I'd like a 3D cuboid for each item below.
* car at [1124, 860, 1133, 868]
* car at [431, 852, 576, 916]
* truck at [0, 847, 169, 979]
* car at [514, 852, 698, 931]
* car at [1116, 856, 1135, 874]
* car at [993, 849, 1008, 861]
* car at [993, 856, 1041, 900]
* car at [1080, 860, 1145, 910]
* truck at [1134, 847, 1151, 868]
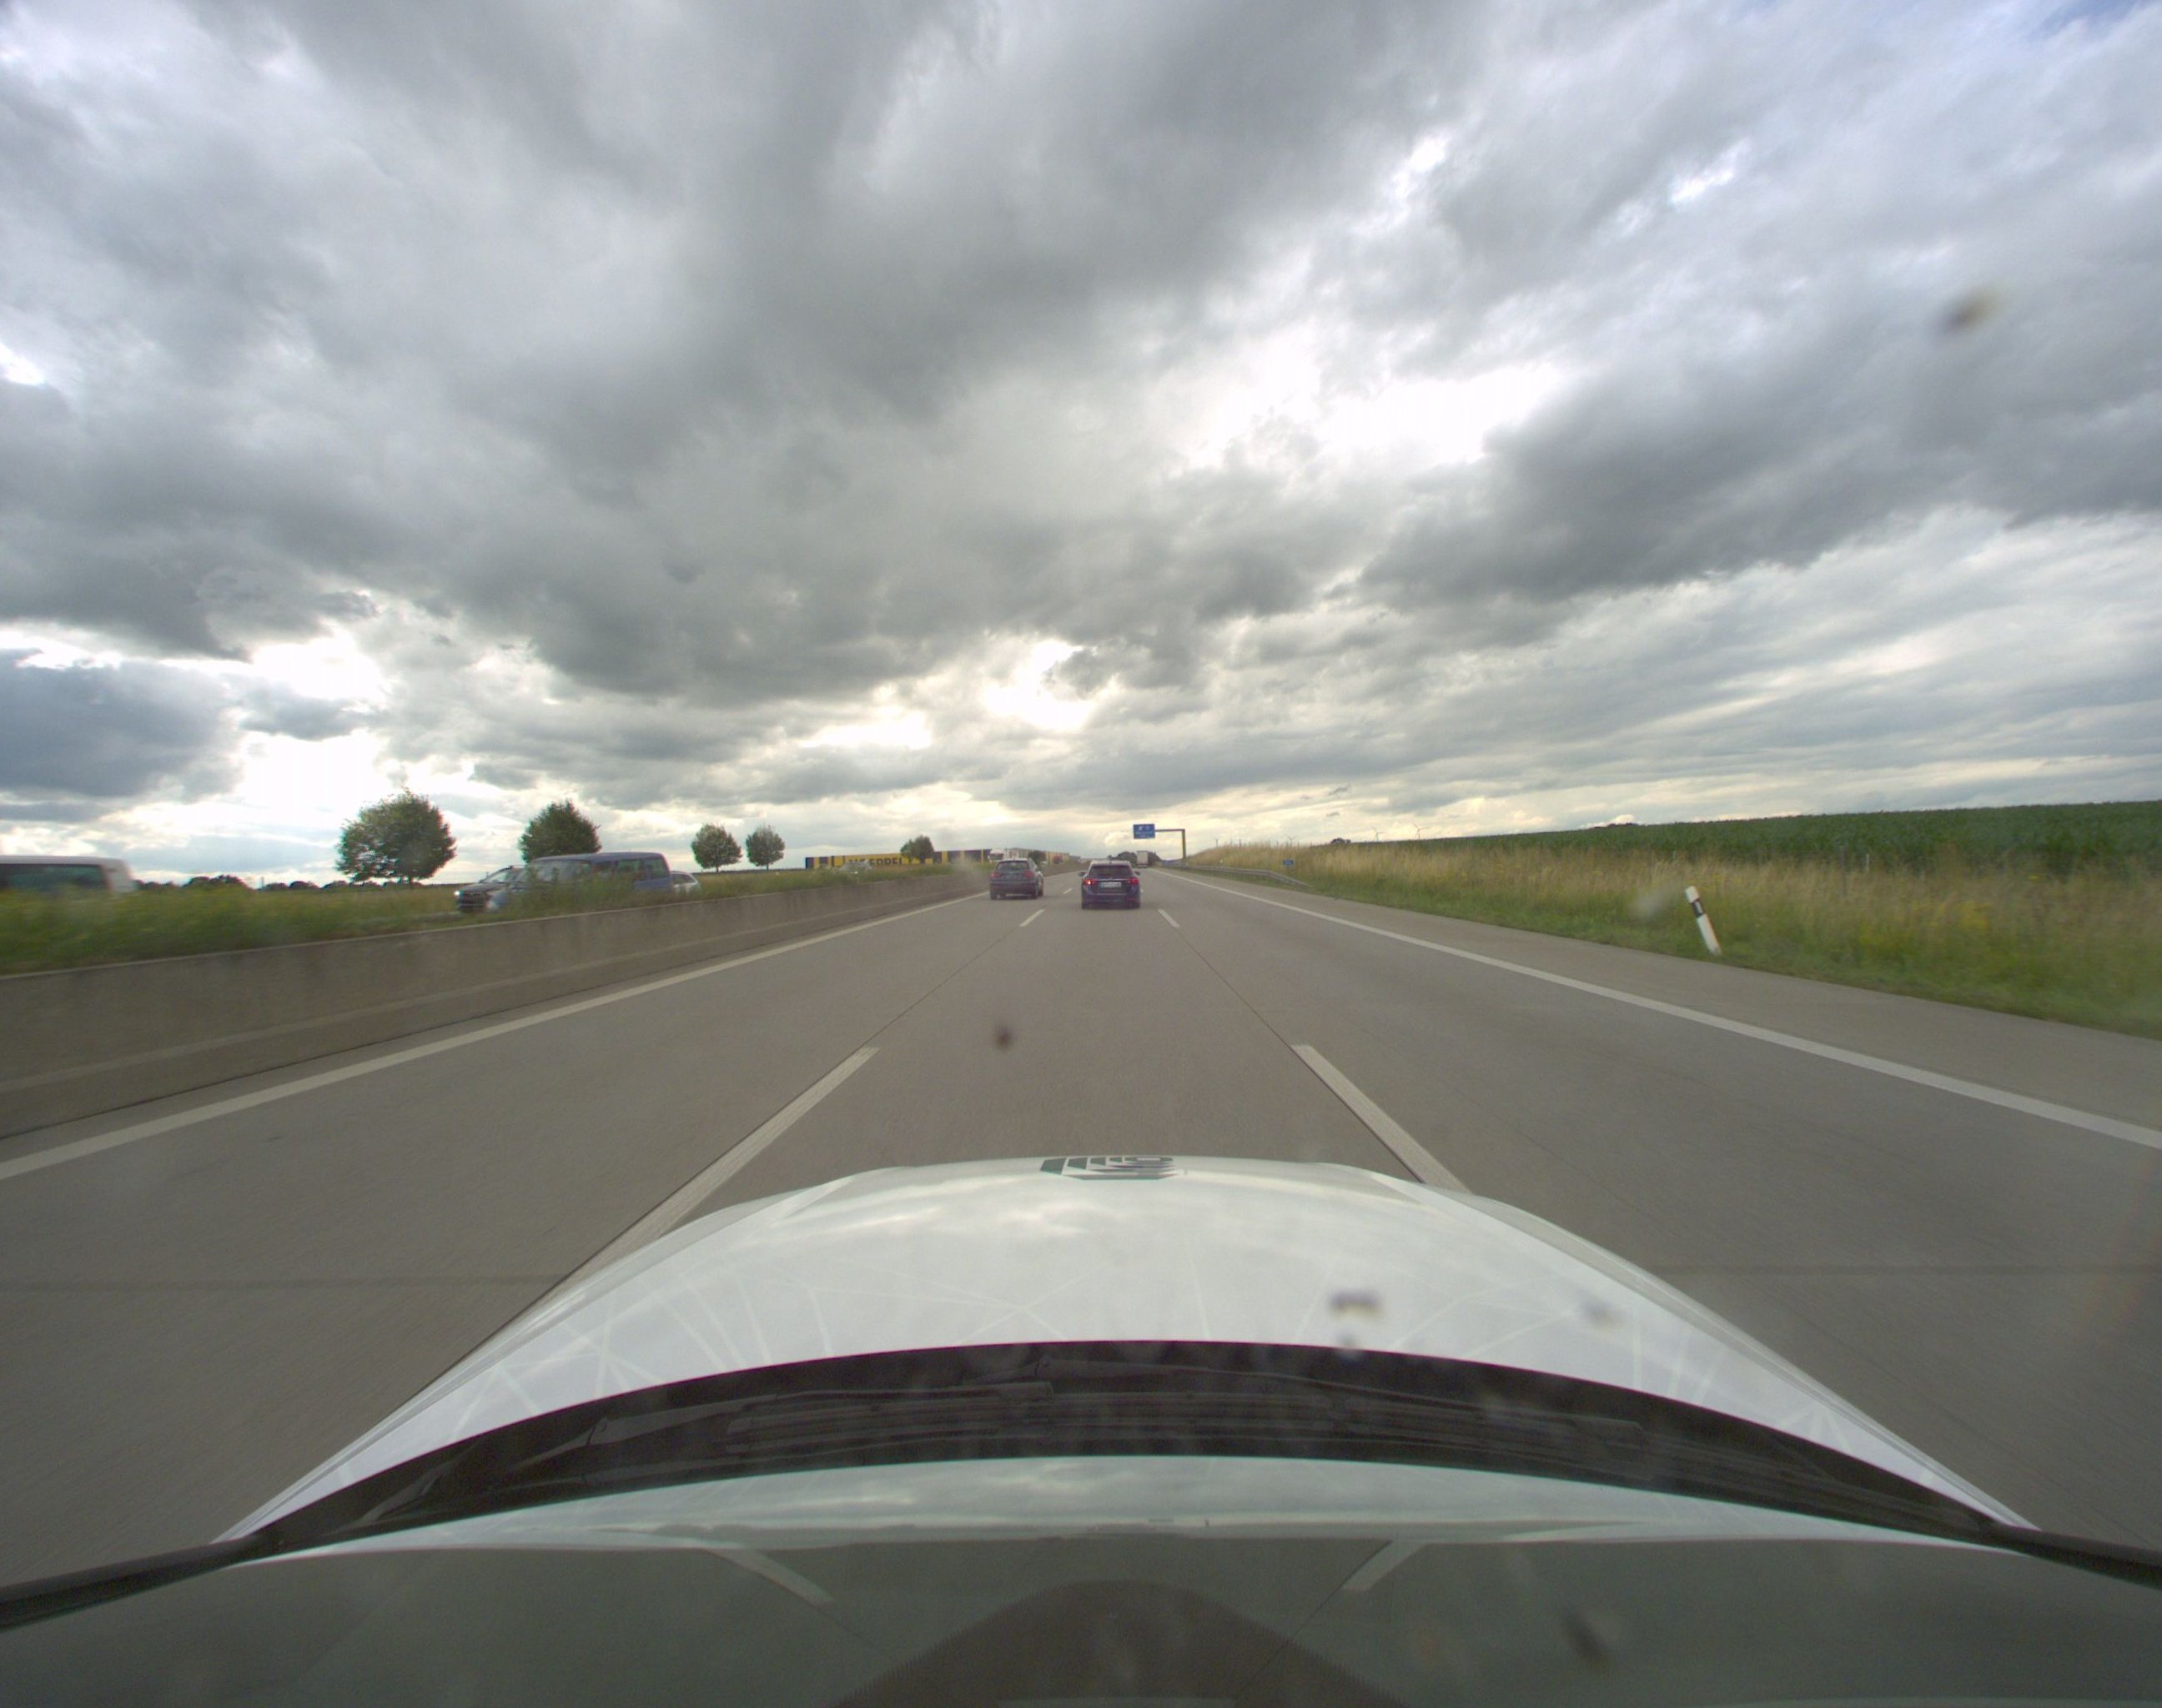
[{"bbox_3d":[12.479,2.578,214.878,1.988,2.014,3.997,0,-1,-2],"label":"car"},{"bbox_3d":[-19.568,0.988,27.850,1.986,2.014,4.001,0,-1,2],"label":"car"},{"bbox_3d":[-15.782,0.807,10.585,1.939,1.806,5.128,0,-1,2],"label":"truck"},{"bbox_3d":[-11.392,0.857,19.942,1.986,1.728,4.110,0,-1,2],"label":"car"},{"bbox_3d":[5.294,1.327,97.130,1.987,2.014,3.998,0,-1,-1],"label":"car"},{"bbox_3d":[-13.515,0.208,137.252,1.986,2.014,4.001,0,-1,2],"label":"car"},{"bbox_3d":[-2.517,0.904,32.856,1.789,1.596,5.150,0,0,-3],"label":"car"},{"bbox_3d":[0.901,0.904,25.516,1.770,1.413,3.997,-1,-1,-2],"label":"car"},{"bbox_3d":[14.659,0.857,192.775,3.932,4.756,12.091,0,-1,5],"label":"truck"}]
